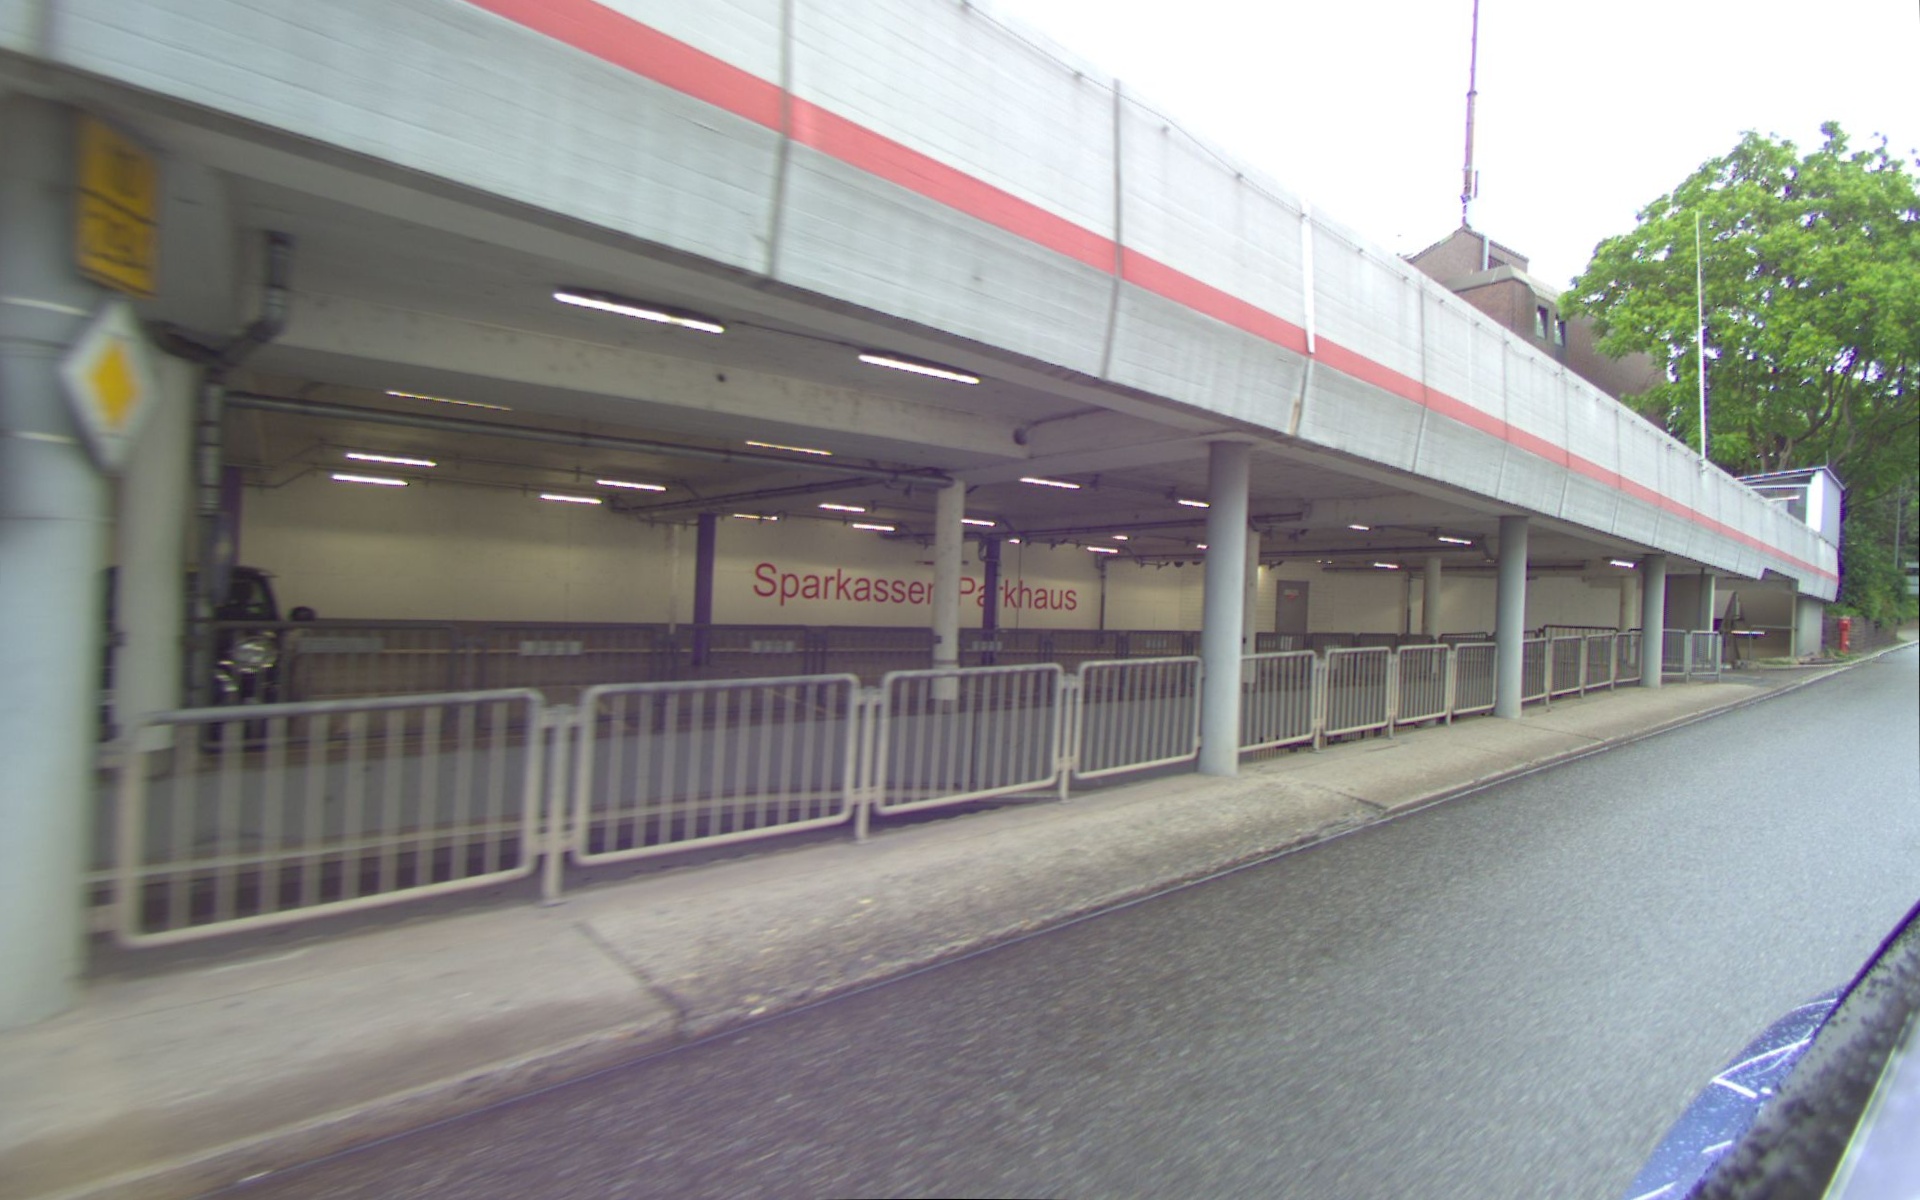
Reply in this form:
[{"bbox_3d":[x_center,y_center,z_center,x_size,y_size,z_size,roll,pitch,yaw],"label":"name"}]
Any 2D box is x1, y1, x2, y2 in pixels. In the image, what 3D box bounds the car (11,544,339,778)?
[{"bbox_3d":[-6.523,0.354,8.646,1.773,1.524,3.736,2,1,-36],"label":"car"}]
